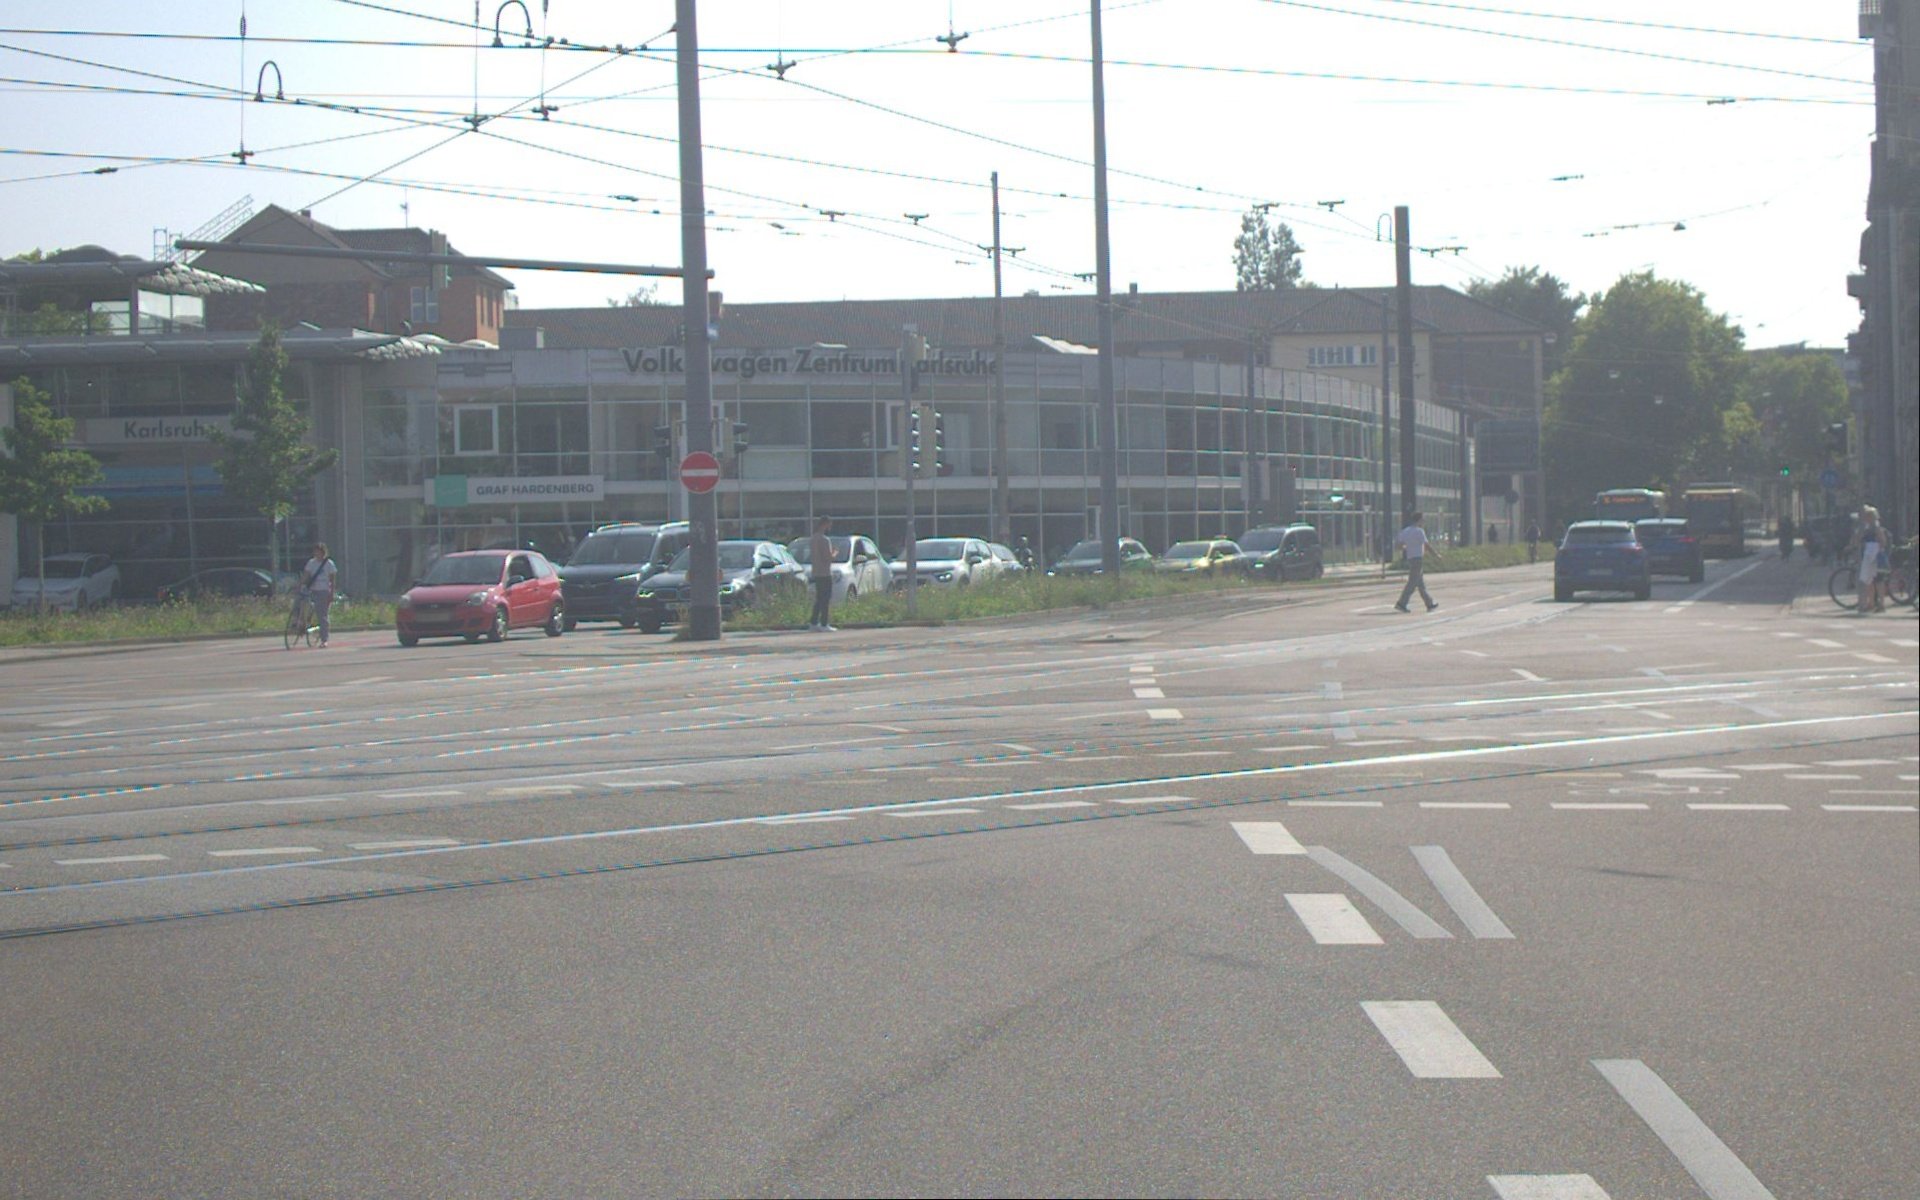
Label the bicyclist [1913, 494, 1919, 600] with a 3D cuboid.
[{"bbox_3d":[15.938,-0.856,54.753,0.934,1.702,1.093,-2,1,-38],"label":"bicyclist"}]

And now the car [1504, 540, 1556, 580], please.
[{"bbox_3d":[22.799,-1.602,137.409,1.615,1.470,3.997,-3,0,15],"label":"car"}]

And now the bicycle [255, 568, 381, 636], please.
[{"bbox_3d":[-10.318,0.020,55.376,0.958,1.053,2.606,-1,1,15],"label":"bicycle"}]

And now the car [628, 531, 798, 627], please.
[{"bbox_3d":[-4.088,-0.371,57.470,1.615,1.470,3.998,-3,0,14],"label":"car"}]

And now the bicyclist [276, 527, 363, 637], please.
[{"bbox_3d":[-10.316,-0.297,55.390,0.958,1.742,1.165,-1,1,15],"label":"bicyclist"}]

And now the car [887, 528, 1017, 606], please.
[{"bbox_3d":[-0.127,-0.688,70.604,1.615,1.470,3.997,-3,0,15],"label":"car"}]

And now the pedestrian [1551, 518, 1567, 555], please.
[{"bbox_3d":[26.196,-2.773,150.421,0.595,1.625,0.637,-1,1,16],"label":"pedestrian"}]

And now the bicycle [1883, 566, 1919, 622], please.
[{"bbox_3d":[17.589,-0.131,60.282,2.617,0.961,1.093,-1,1,-25],"label":"bicycle"}]

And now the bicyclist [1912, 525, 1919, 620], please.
[{"bbox_3d":[17.409,-0.492,60.189,0.934,1.674,1.093,-1,1,-25],"label":"bicyclist"}]

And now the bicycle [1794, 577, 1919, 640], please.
[{"bbox_3d":[14.962,0.125,56.408,2.619,0.961,1.093,-2,1,-38],"label":"bicycle"}]

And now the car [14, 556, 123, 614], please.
[{"bbox_3d":[-24.347,-0.433,94.024,1.700,1.517,4.099,-1,1,3],"label":"car"}]

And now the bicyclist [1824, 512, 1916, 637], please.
[{"bbox_3d":[14.916,-0.417,56.376,0.934,2.017,1.093,-2,1,-38],"label":"bicyclist"}]

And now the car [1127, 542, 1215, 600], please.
[{"bbox_3d":[5.855,-0.813,94.973,1.615,1.470,3.997,-3,0,15],"label":"car"}]

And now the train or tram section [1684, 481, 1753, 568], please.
[{"bbox_3d":[33.456,-3.345,151.916,2.656,3.686,10.584,-1,1,11],"label":"train or tram section"}]

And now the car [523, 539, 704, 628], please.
[{"bbox_3d":[-6.201,-0.322,61.999,1.961,1.470,3.998,-3,0,14],"label":"car"}]

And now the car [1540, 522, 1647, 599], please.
[{"bbox_3d":[12.624,-0.806,68.340,1.826,1.423,4.410,-1,1,14],"label":"car"}]

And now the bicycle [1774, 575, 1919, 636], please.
[{"bbox_3d":[15.310,0.084,58.688,2.617,0.961,1.093,-1,1,-25],"label":"bicycle"}]

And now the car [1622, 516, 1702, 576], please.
[{"bbox_3d":[17.697,-1.370,86.547,1.826,1.423,4.410,-1,1,13],"label":"car"}]

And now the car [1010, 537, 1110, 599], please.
[{"bbox_3d":[2.583,-0.840,88.026,1.615,1.470,3.997,-3,0,15],"label":"car"}]

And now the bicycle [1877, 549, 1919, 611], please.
[{"bbox_3d":[15.855,-0.345,54.682,2.619,0.961,1.093,-2,1,-38],"label":"bicycle"}]

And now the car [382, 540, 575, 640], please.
[{"bbox_3d":[-7.673,-0.183,55.144,1.615,1.470,3.998,-3,0,14],"label":"car"}]

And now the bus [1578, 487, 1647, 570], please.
[{"bbox_3d":[30.328,-3.291,160.275,2.922,3.606,16.740,-1,1,10],"label":"bus"}]

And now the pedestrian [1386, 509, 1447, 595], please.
[{"bbox_3d":[7.996,-0.843,60.263,0.777,1.498,0.710,-1,1,-26],"label":"pedestrian"}]

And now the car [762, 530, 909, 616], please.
[{"bbox_3d":[-2.263,-0.523,63.715,1.615,1.470,3.998,-3,0,14],"label":"car"}]

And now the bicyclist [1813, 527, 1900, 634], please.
[{"bbox_3d":[15.289,-0.336,58.672,0.934,1.793,1.093,-1,1,-25],"label":"bicyclist"}]
